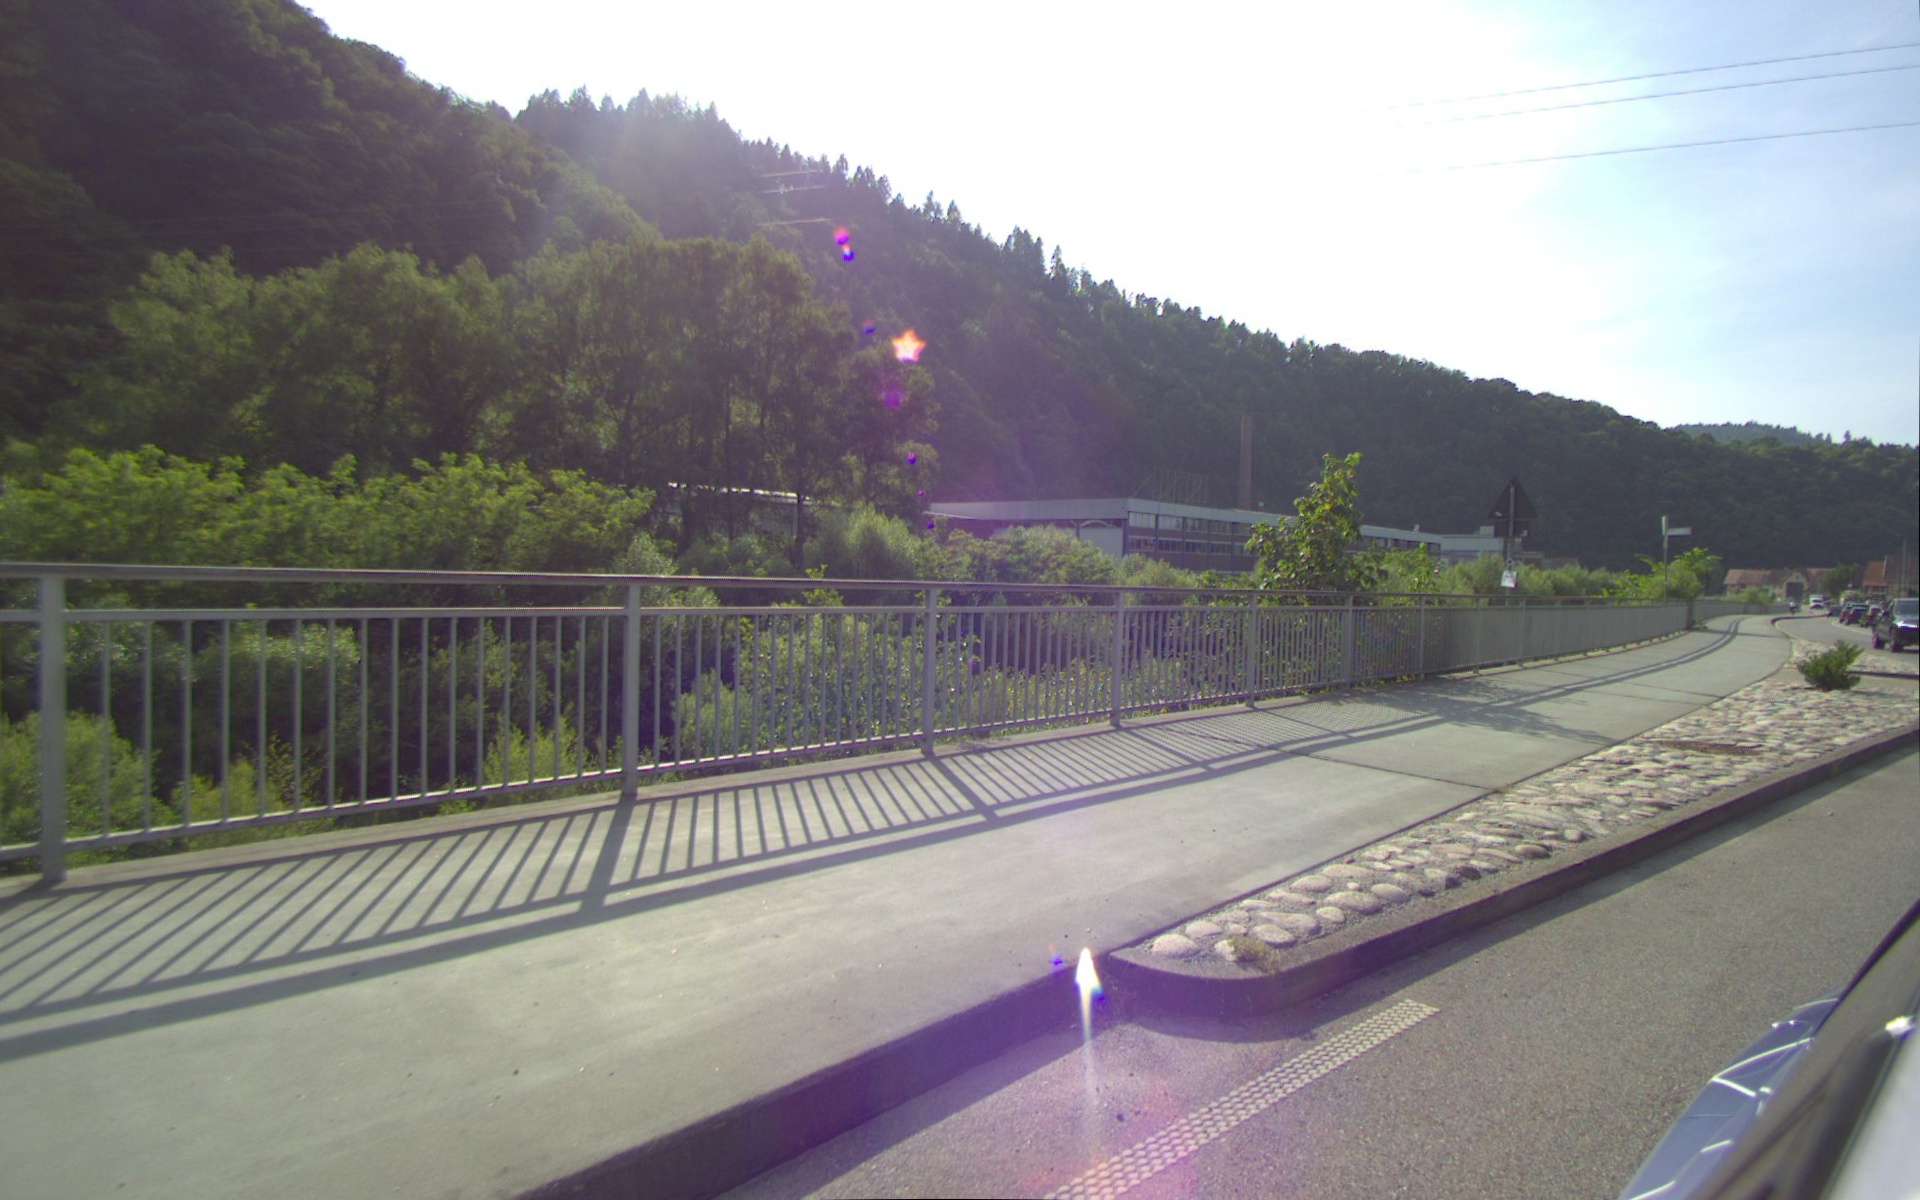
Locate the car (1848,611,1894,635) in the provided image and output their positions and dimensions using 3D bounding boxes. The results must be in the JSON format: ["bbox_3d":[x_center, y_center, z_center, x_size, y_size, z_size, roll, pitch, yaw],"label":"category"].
[{"bbox_3d":[65.134,1.632,72.402,1.768,1.535,4.221,2,1,33],"label":"car"}]
